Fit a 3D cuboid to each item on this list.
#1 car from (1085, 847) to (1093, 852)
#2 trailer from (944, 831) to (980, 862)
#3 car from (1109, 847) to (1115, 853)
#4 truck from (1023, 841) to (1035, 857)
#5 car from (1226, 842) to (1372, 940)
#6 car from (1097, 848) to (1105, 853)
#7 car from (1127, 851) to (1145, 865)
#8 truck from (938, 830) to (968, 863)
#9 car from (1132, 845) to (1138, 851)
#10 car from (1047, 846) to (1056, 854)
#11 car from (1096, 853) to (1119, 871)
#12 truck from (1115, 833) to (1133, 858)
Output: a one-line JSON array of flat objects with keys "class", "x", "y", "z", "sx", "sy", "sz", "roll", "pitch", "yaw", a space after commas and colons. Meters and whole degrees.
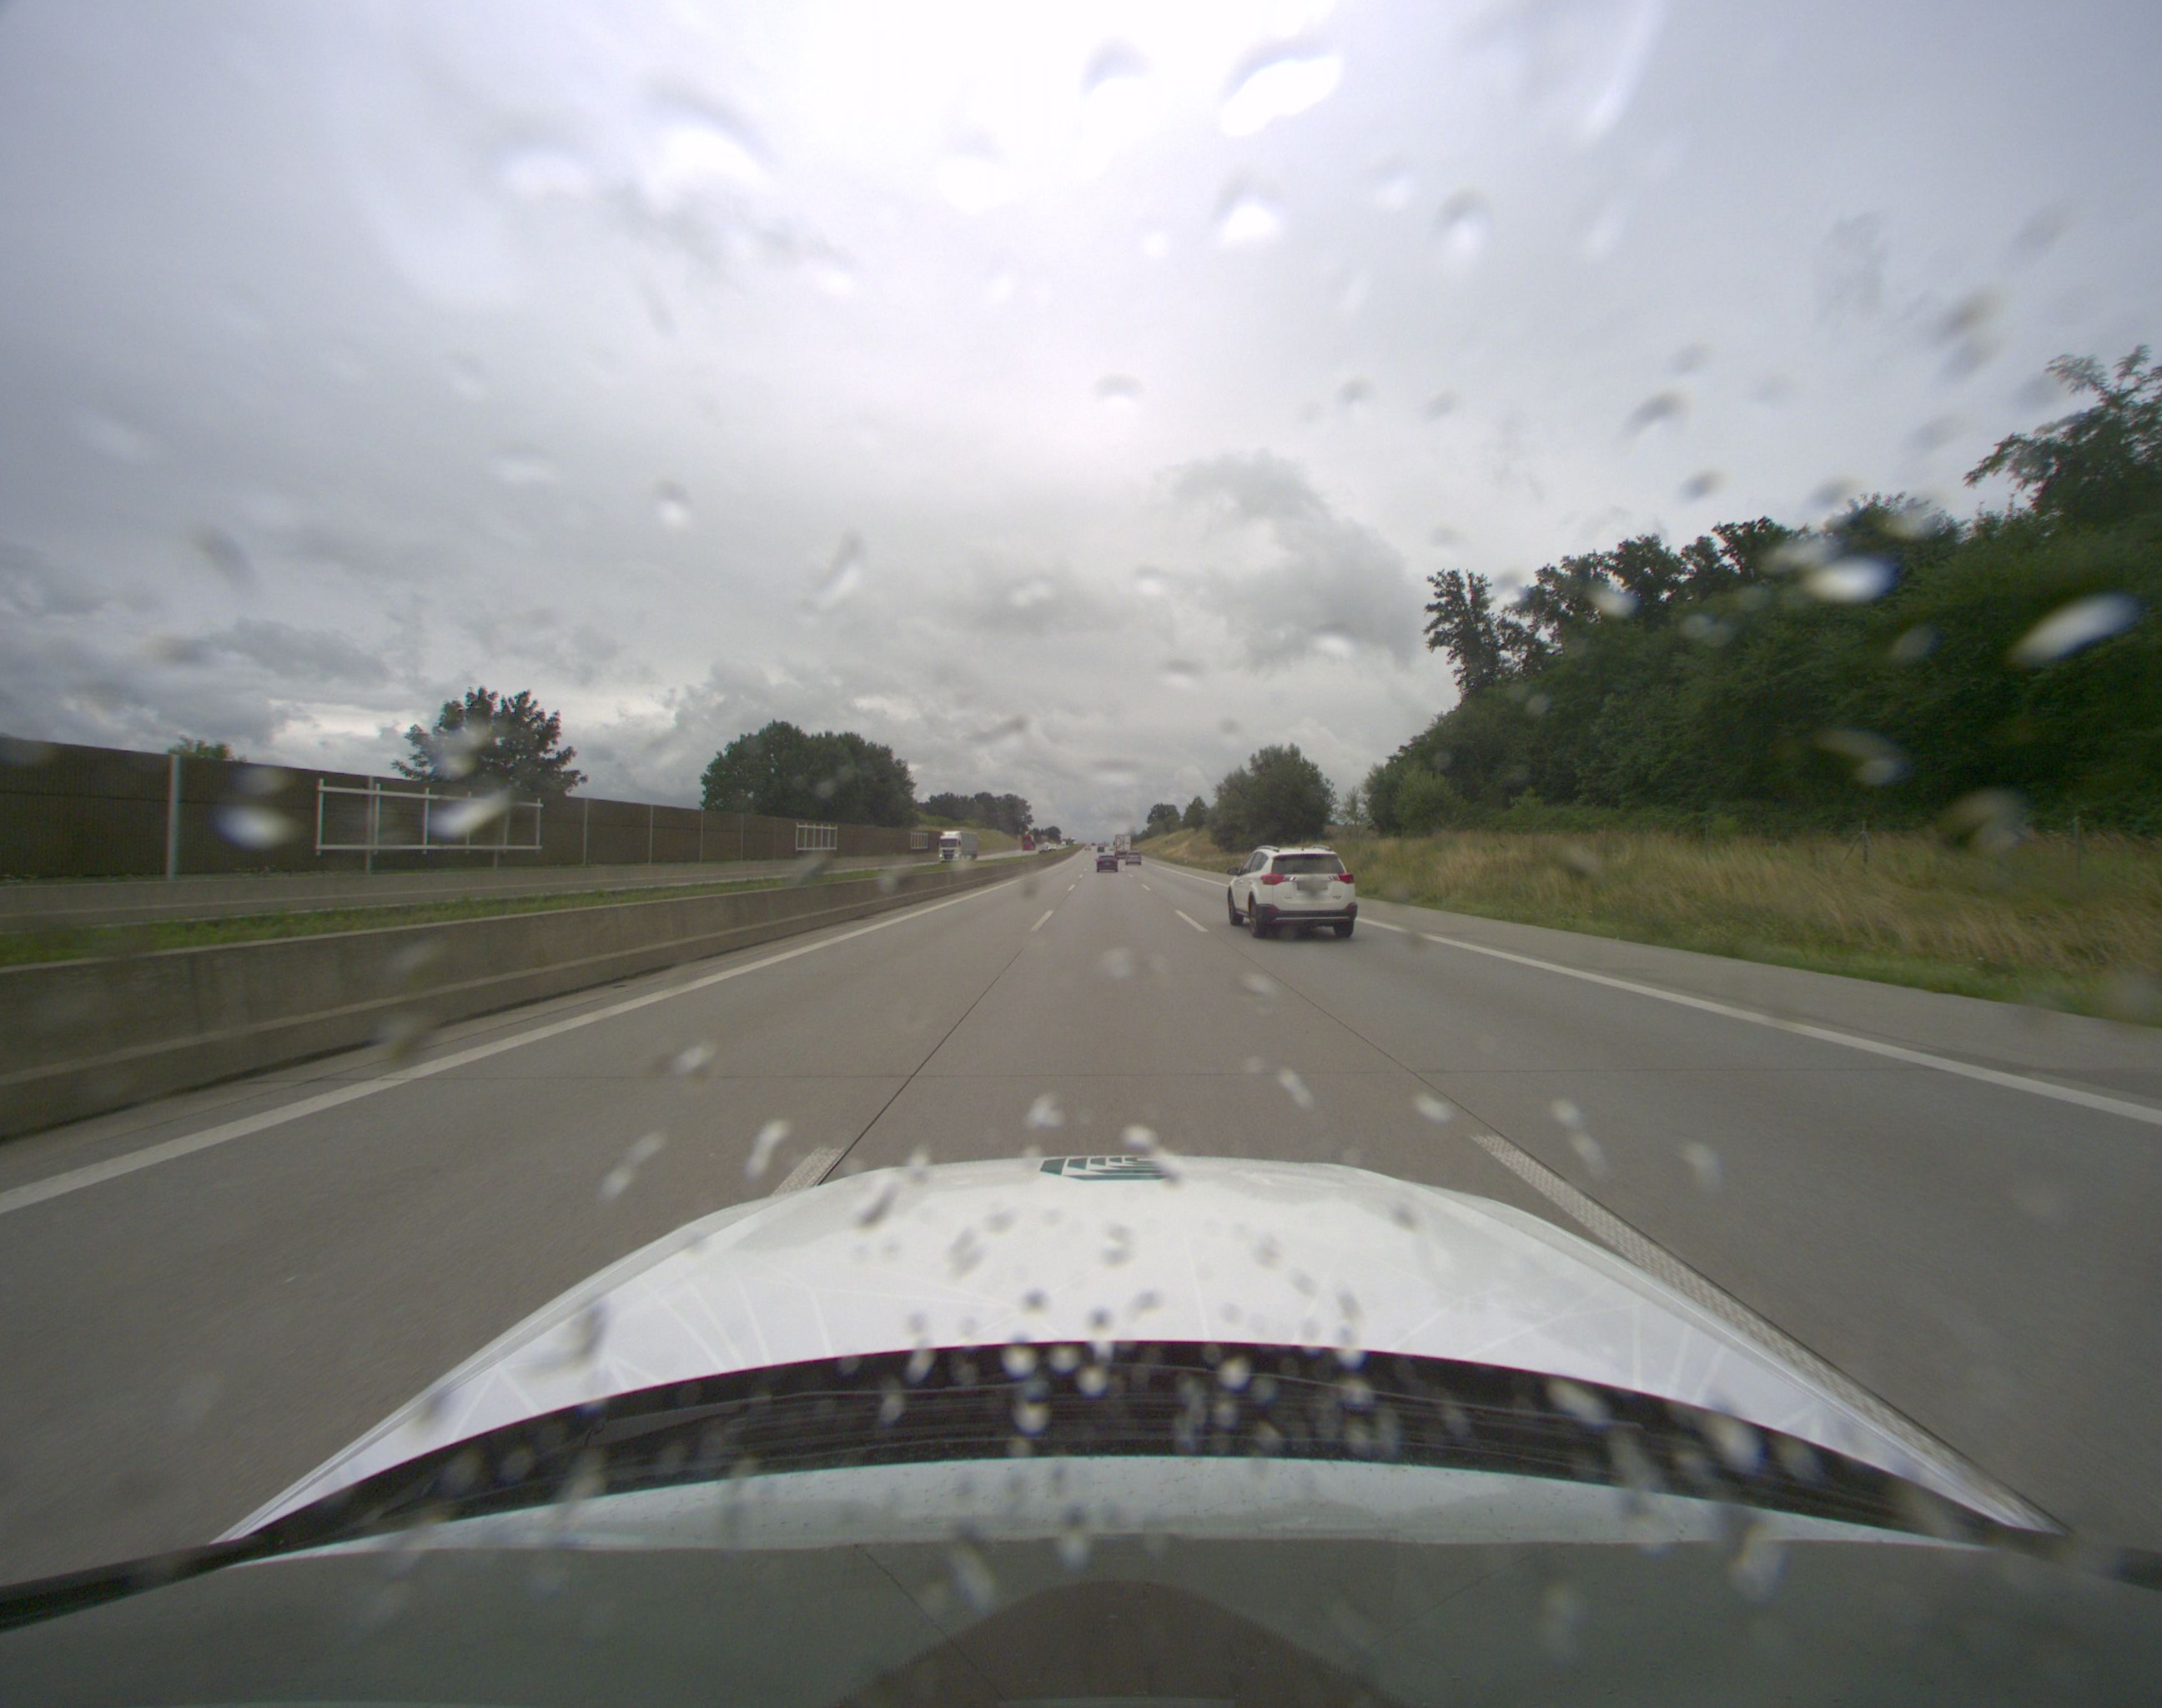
[{"class": "car", "x": 2.324, "y": -1.351, "z": 238.236, "sx": 1.940, "sy": 1.356, "sz": 4.262, "roll": 0, "pitch": 0, "yaw": 2}, {"class": "trailer", "x": -16.431, "y": -1.020, "z": 113.298, "sx": 2.687, "sy": 4.096, "sz": 14.008, "roll": 0, "pitch": 0, "yaw": 1}, {"class": "car", "x": 9.387, "y": -1.281, "z": 246.354, "sx": 1.985, "sy": 1.640, "sz": 4.004, "roll": 0, "pitch": 0, "yaw": 3}, {"class": "truck", "x": -13.817, "y": -1.258, "z": 217.987, "sx": 2.543, "sy": 4.252, "sz": 7.465, "roll": 0, "pitch": 0, "yaw": 1}, {"class": "car", "x": 4.074, "y": 0.635, "z": 15.883, "sx": 1.819, "sy": 1.655, "sz": 3.985, "roll": 0, "pitch": 0, "yaw": 1}, {"class": "car", "x": 5.282, "y": -0.898, "z": 210.332, "sx": 1.927, "sy": 1.375, "sz": 4.597, "roll": 0, "pitch": -1, "yaw": 3}, {"class": "car", "x": 6.399, "y": 0.445, "z": 95.125, "sx": 1.985, "sy": 1.530, "sz": 4.004, "roll": 0, "pitch": 0, "yaw": 3}, {"class": "truck", "x": -16.578, "y": -0.950, "z": 105.834, "sx": 2.673, "sy": 4.083, "sz": 6.218, "roll": 0, "pitch": 0, "yaw": 1}, {"class": "car", "x": 16.038, "y": -1.781, "z": 242.276, "sx": 1.985, "sy": 2.013, "sz": 4.004, "roll": 0, "pitch": 0, "yaw": 3}, {"class": "car", "x": -7.060, "y": -0.942, "z": 197.516, "sx": 1.987, "sy": 1.886, "sz": 5.513, "roll": 0, "pitch": 0, "yaw": 1}, {"class": "car", "x": 2.142, "y": 0.679, "z": 67.182, "sx": 1.746, "sy": 1.398, "sz": 4.484, "roll": 0, "pitch": -1, "yaw": 0}, {"class": "truck", "x": 7.356, "y": -1.357, "z": 139.893, "sx": 3.006, "sy": 4.180, "sz": 8.357, "roll": 0, "pitch": 0, "yaw": 2}]
